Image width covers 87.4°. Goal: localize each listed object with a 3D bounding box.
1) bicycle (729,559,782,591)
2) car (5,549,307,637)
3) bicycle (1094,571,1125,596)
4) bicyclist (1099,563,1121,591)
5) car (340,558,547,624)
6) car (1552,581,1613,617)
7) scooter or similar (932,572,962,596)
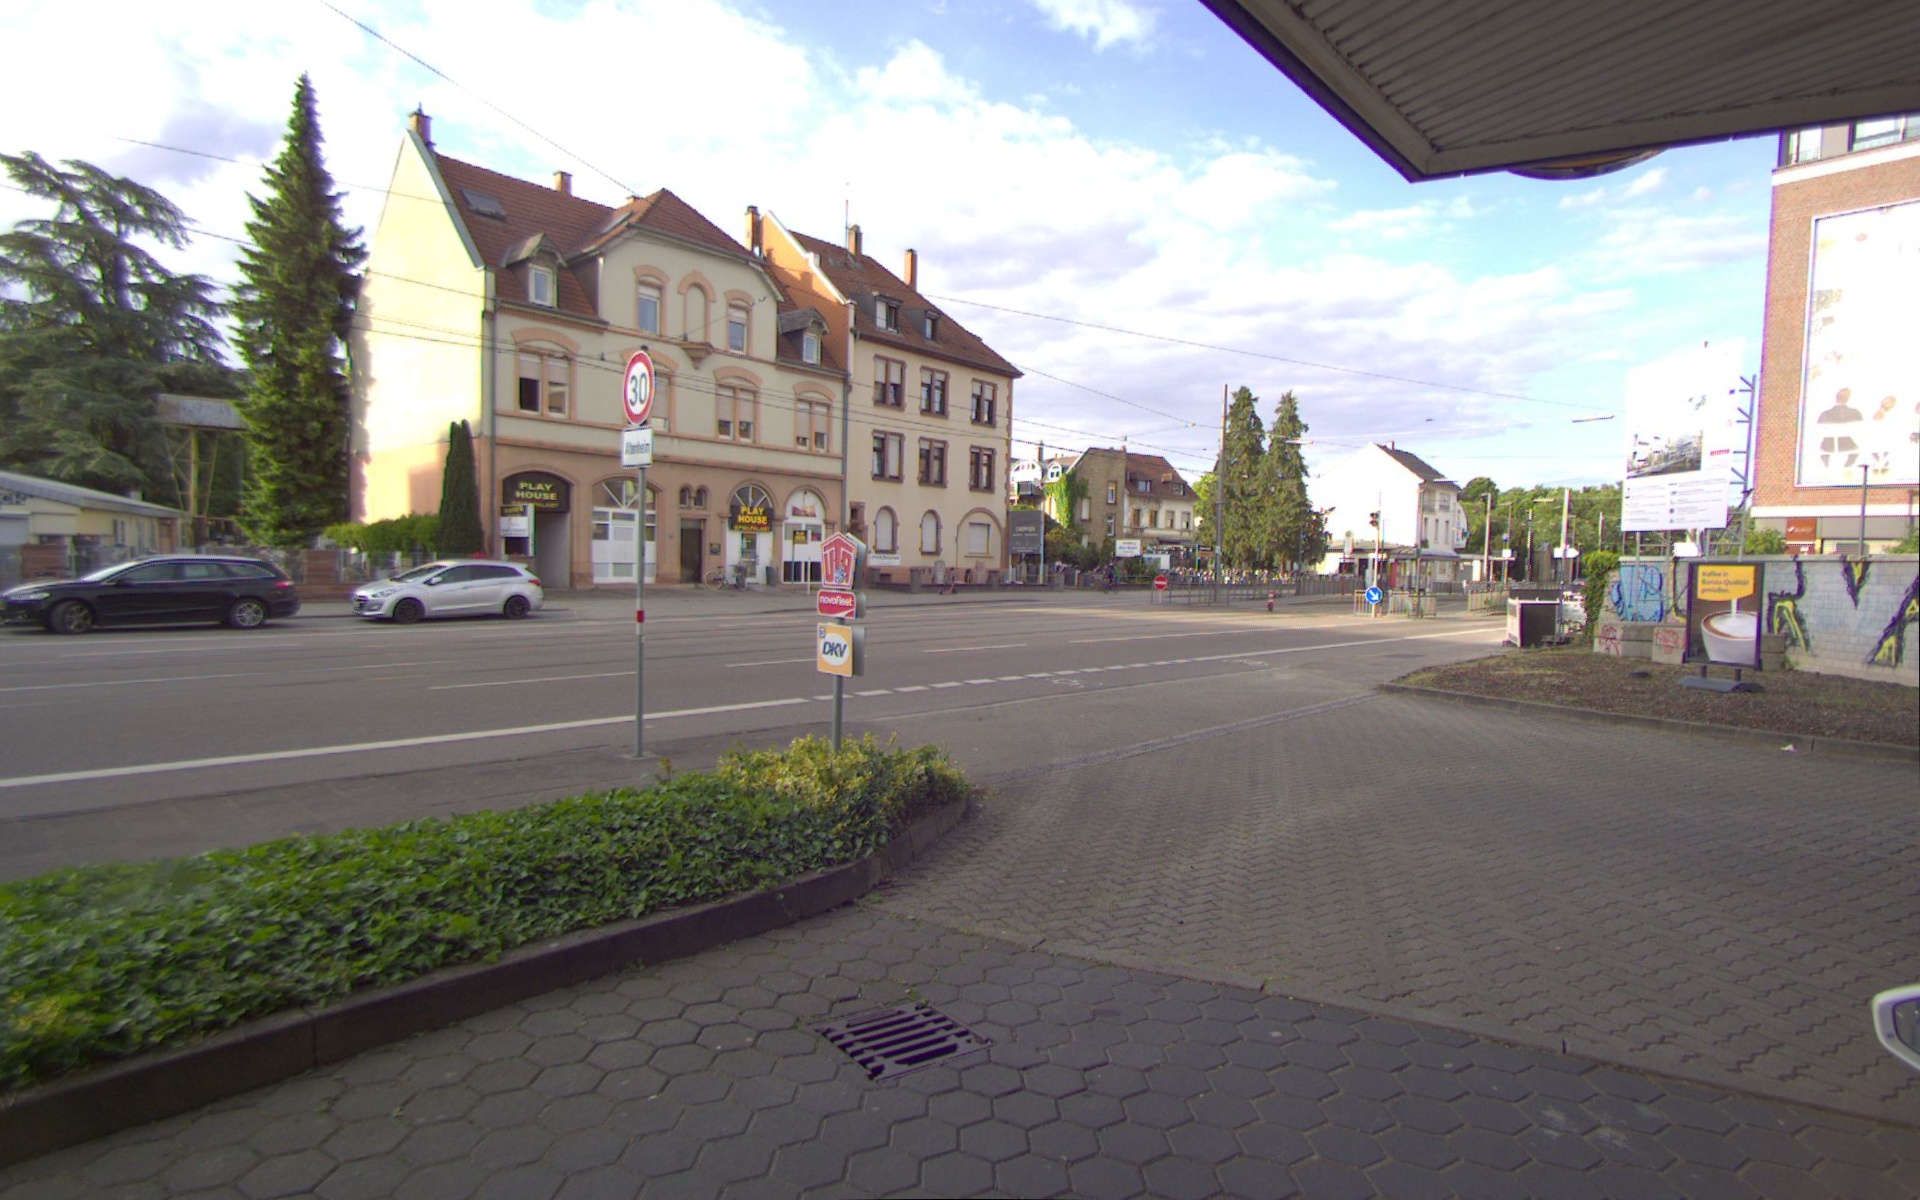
[{"bbox_3d":[-8.251,-0.997,40.626,0.741,1.219,2.011,8,5,41],"label":"bicycle"},{"bbox_3d":[-16.489,-0.172,20.816,1.827,1.542,4.642,5,4,40],"label":"car"},{"bbox_3d":[8.052,-0.902,54.096,0.740,1.219,1.813,7,6,38],"label":"bicycle"},{"bbox_3d":[8.094,-1.264,54.093,0.740,1.428,0.917,7,6,38],"label":"bicyclist"},{"bbox_3d":[-12.931,-0.248,25.354,1.718,1.502,4.357,3,2,41],"label":"car"},{"bbox_3d":[29.324,-0.084,47.295,1.649,1.568,3.687,5,4,43],"label":"car"},{"bbox_3d":[-0.570,-0.710,45.092,0.437,1.006,1.460,6,5,41],"label":"scooter or similar"}]
